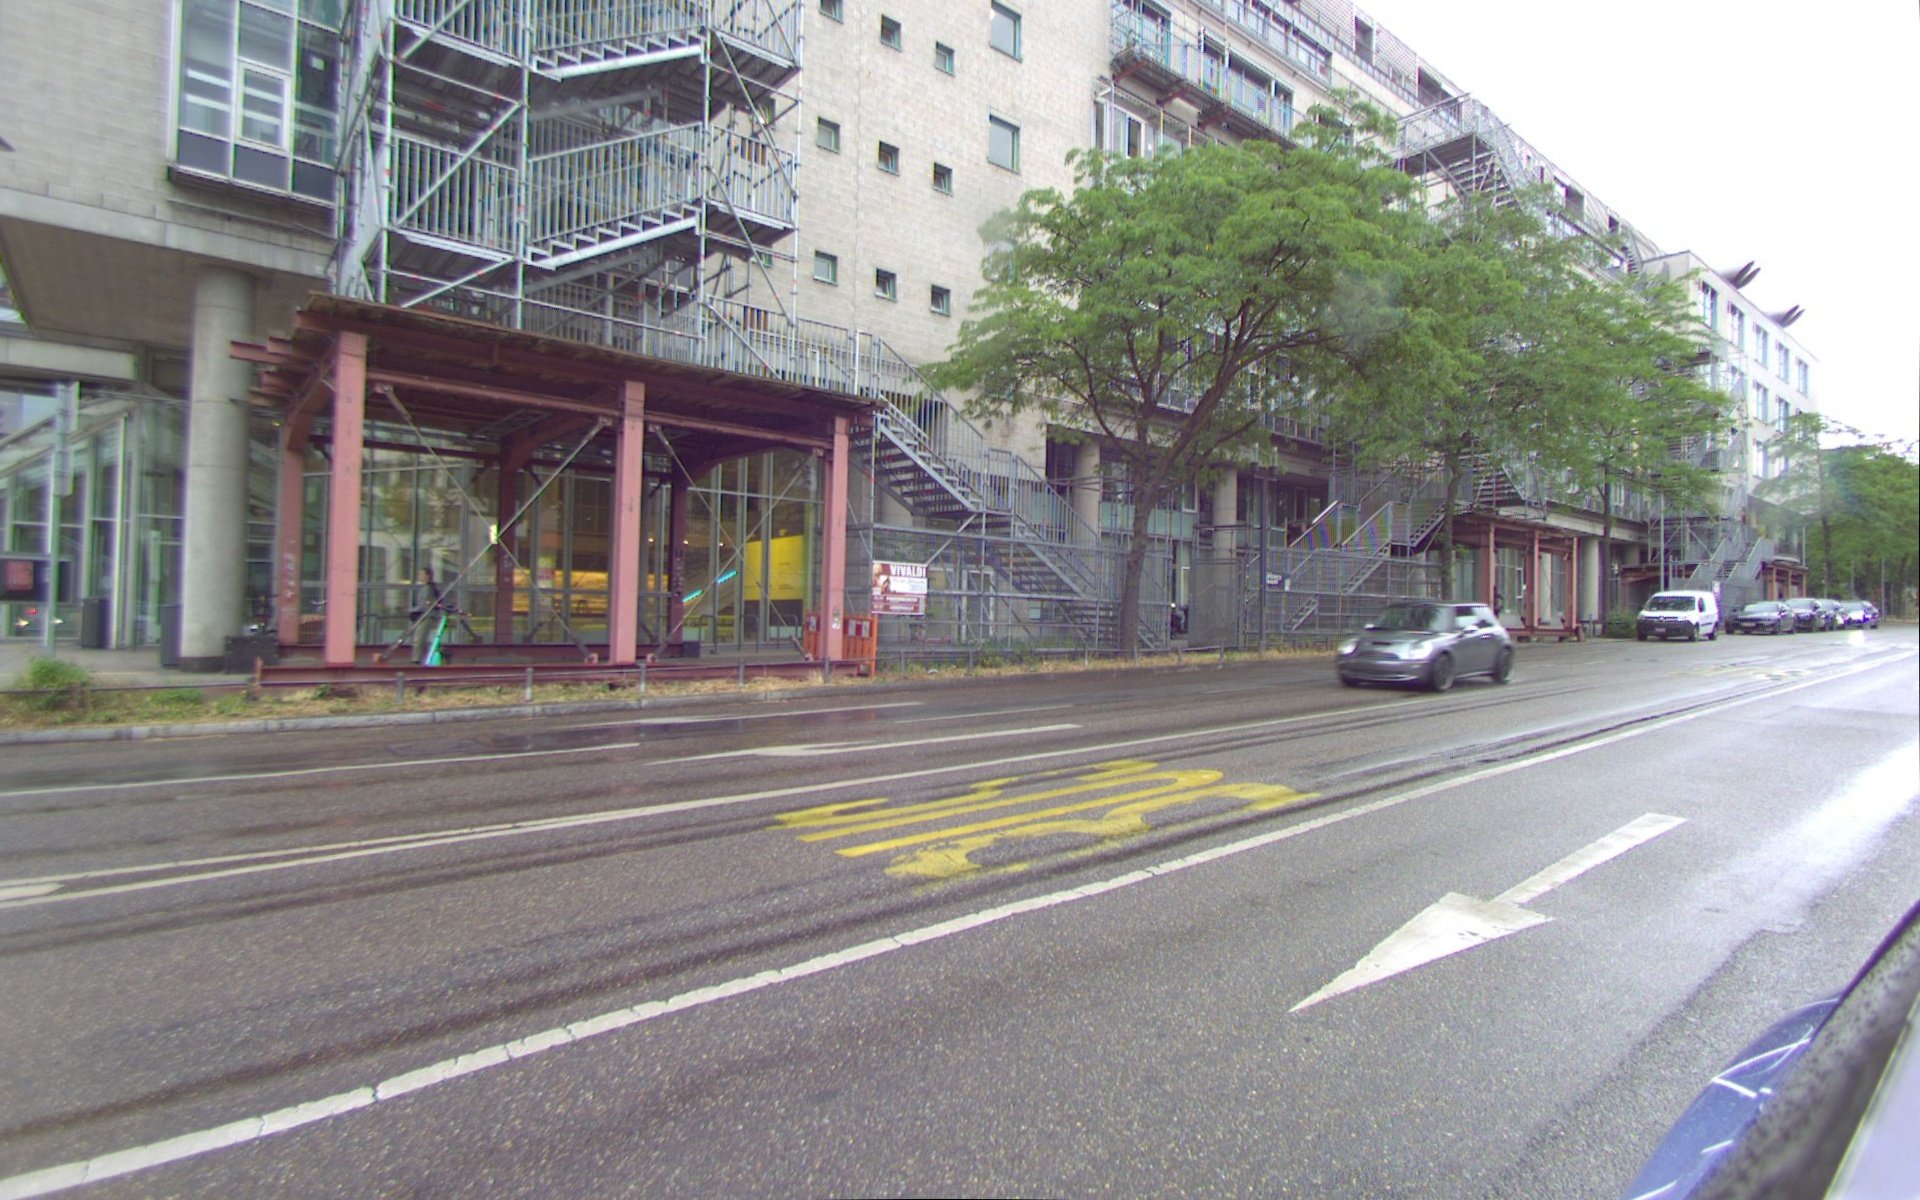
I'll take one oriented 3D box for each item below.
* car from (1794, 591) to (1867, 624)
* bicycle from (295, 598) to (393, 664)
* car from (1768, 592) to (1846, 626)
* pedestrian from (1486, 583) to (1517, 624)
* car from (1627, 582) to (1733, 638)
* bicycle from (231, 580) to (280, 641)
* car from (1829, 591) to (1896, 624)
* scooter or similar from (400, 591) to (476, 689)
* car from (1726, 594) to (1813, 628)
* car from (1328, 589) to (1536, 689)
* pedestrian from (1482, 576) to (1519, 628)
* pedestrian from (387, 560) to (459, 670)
[{"bbox_3d":[44.354,0.370,51.531,4.733,1.580,2.145,-1,1,-41],"label":"car"},{"bbox_3d":[-11.991,0.574,19.739,0.580,1.209,1.602,0,0,24],"label":"bicycle"},{"bbox_3d":[40.243,0.398,48.069,4.733,1.513,2.145,-1,1,-41],"label":"car"},{"bbox_3d":[24.338,0.161,45.485,0.832,1.822,1.008,0,0,-44],"label":"pedestrian"},{"bbox_3d":[26.062,0.315,36.591,4.254,1.930,2.211,-1,0,-41],"label":"car"},{"bbox_3d":[-14.431,0.200,20.714,0.577,1.209,1.611,0,0,-44],"label":"bicycle"},{"bbox_3d":[48.927,0.359,54.856,4.733,1.667,2.145,-1,0,-41],"label":"car"},{"bbox_3d":[-6.944,0.487,13.415,0.576,1.209,1.782,1,0,-38],"label":"scooter or similar"},{"bbox_3d":[35.087,0.431,43.819,4.733,1.353,2.145,-1,1,-41],"label":"car"},{"bbox_3d":[7.933,0.561,16.904,3.654,1.474,1.743,-1,1,-39],"label":"car"},{"bbox_3d":[21.470,0.068,40.206,1.021,2.039,1.009,0,0,-41],"label":"pedestrian"},{"bbox_3d":[-9.067,0.244,17.100,0.774,1.798,0.783,0,0,31],"label":"pedestrian"}]
